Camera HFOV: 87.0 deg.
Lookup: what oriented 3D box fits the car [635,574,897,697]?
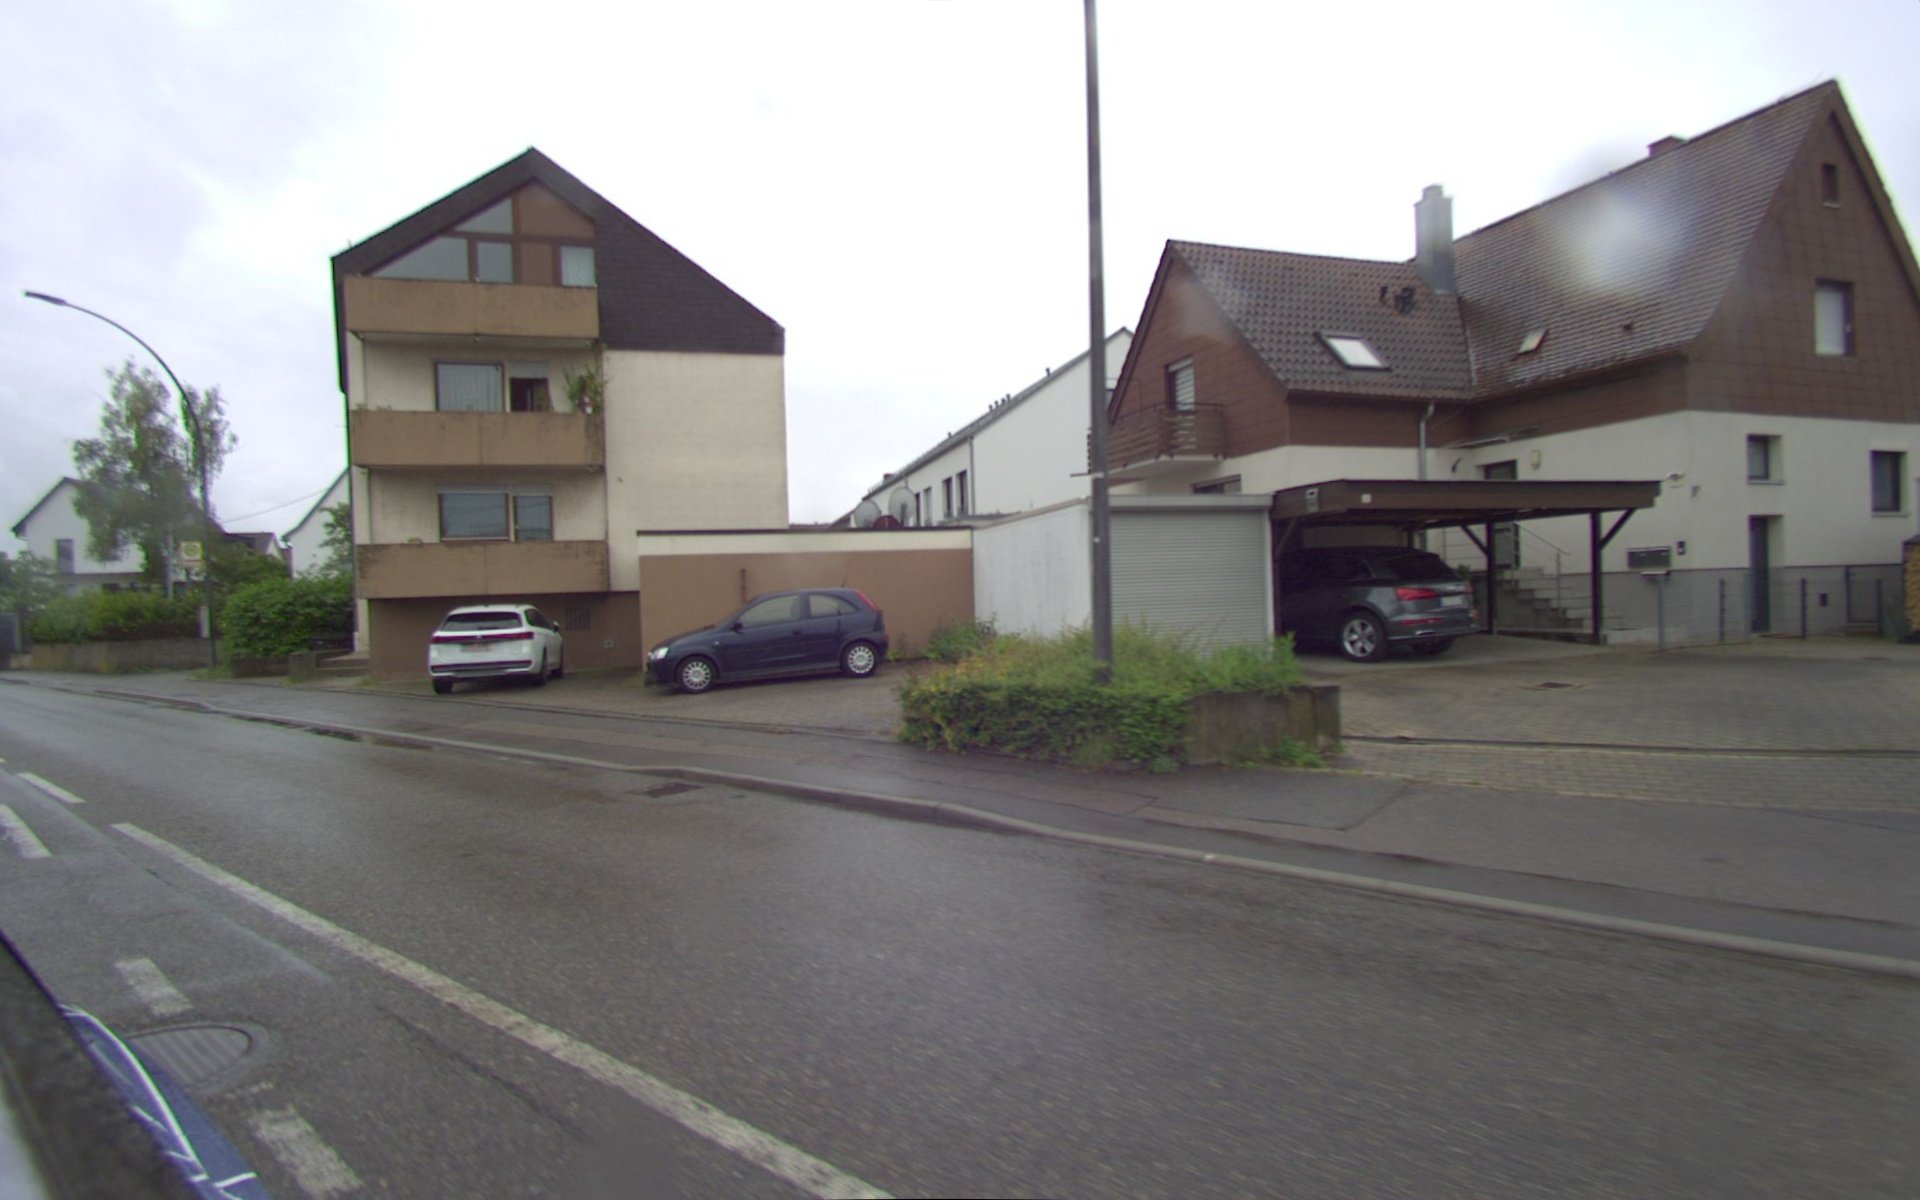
[{"bbox_3d":[-3.003,0.489,15.810,3.713,1.519,1.706,-4,2,-11],"label":"car"}]

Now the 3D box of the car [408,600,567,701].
[{"bbox_3d":[-8.531,0.844,18.704,1.875,1.488,4.896,-4,0,-17],"label":"car"}]

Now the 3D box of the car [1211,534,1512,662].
[{"bbox_3d":[5.989,-0.112,15.600,1.966,1.673,4.013,-3,3,-27],"label":"car"}]
